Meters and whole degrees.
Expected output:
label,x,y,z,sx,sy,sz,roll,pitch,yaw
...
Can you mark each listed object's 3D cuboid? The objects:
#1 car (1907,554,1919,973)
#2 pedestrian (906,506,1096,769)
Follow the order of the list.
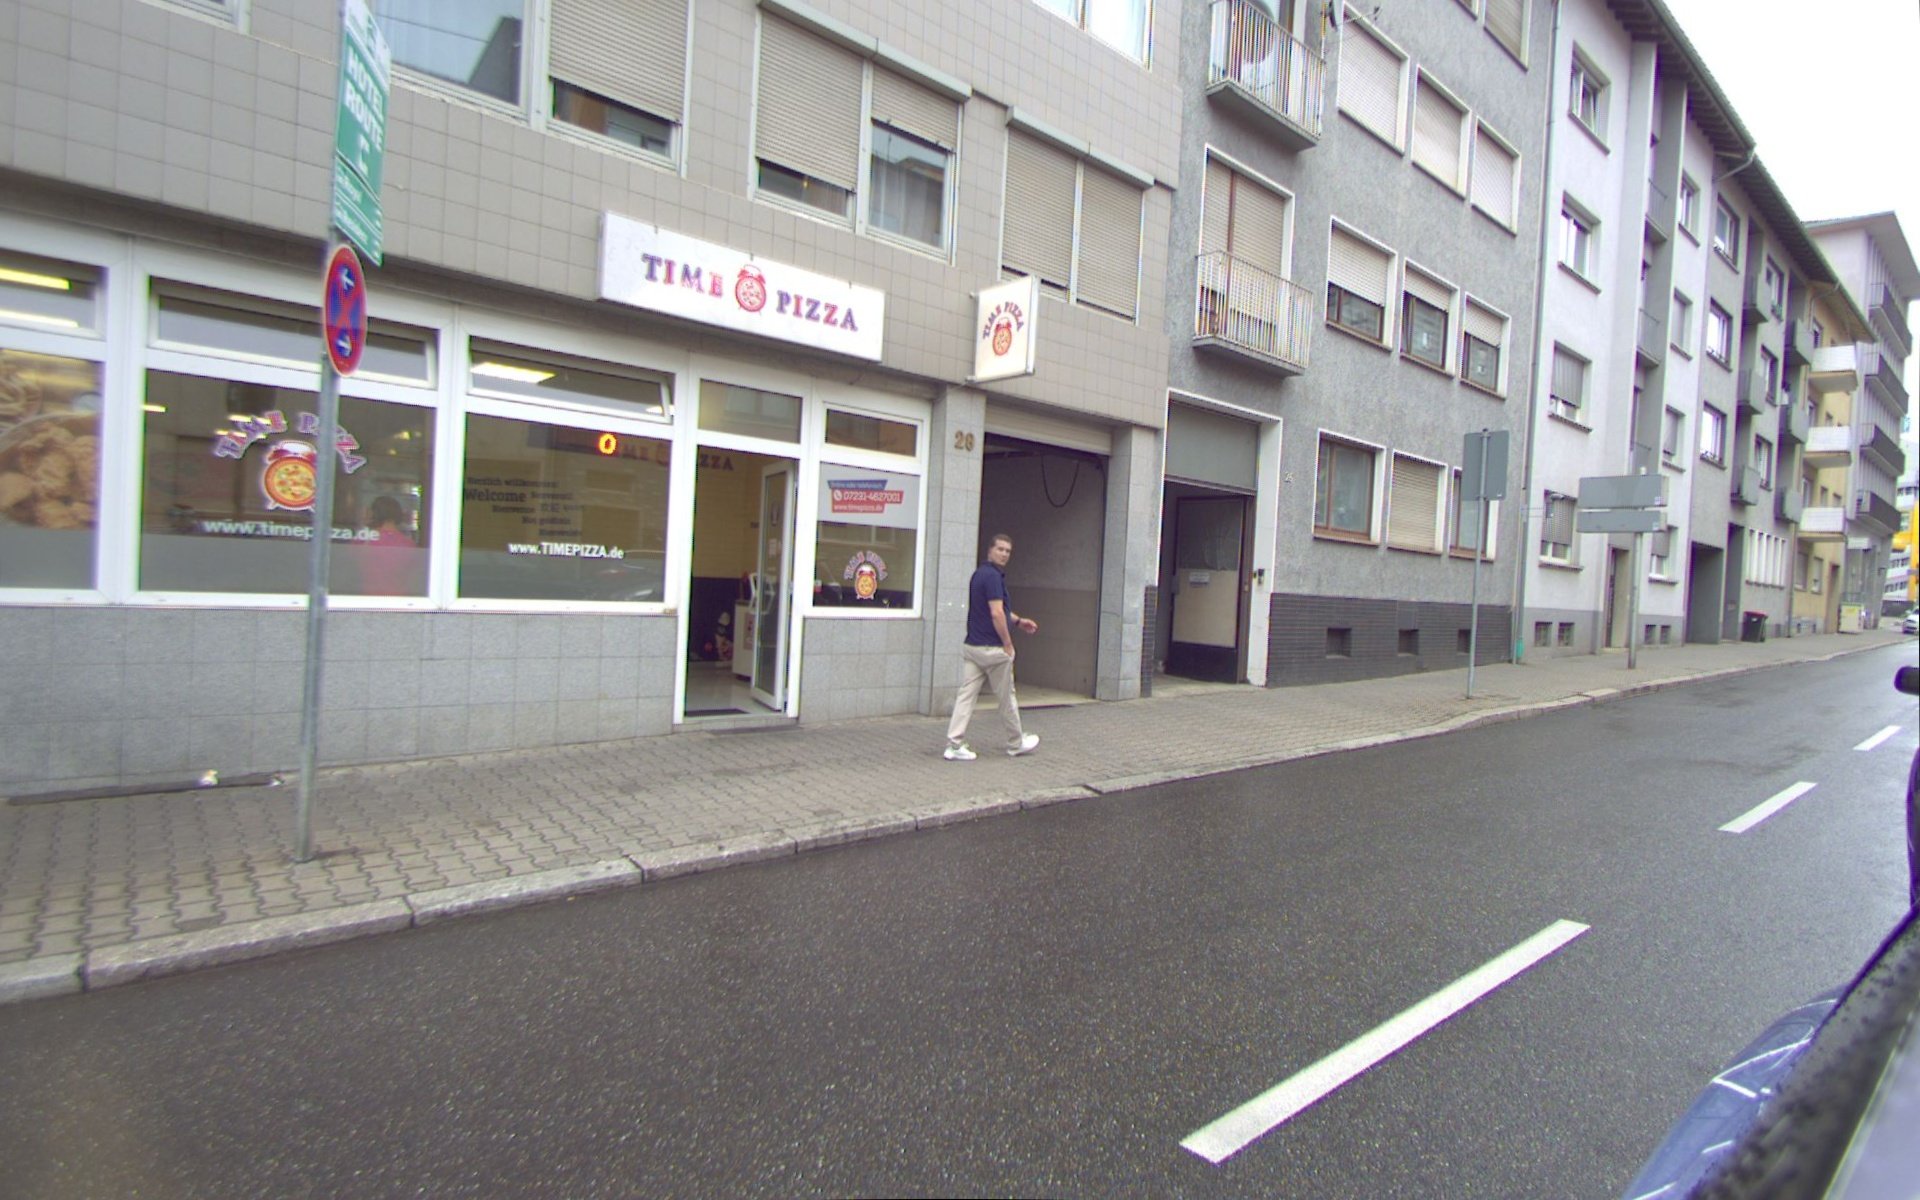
label,x,y,z,sx,sy,sz,roll,pitch,yaw
car,6.080,0.661,4.946,4.144,1.743,1.697,-1,0,-41
pedestrian,0.323,0.244,8.055,1.100,1.887,0.871,0,7,-41
